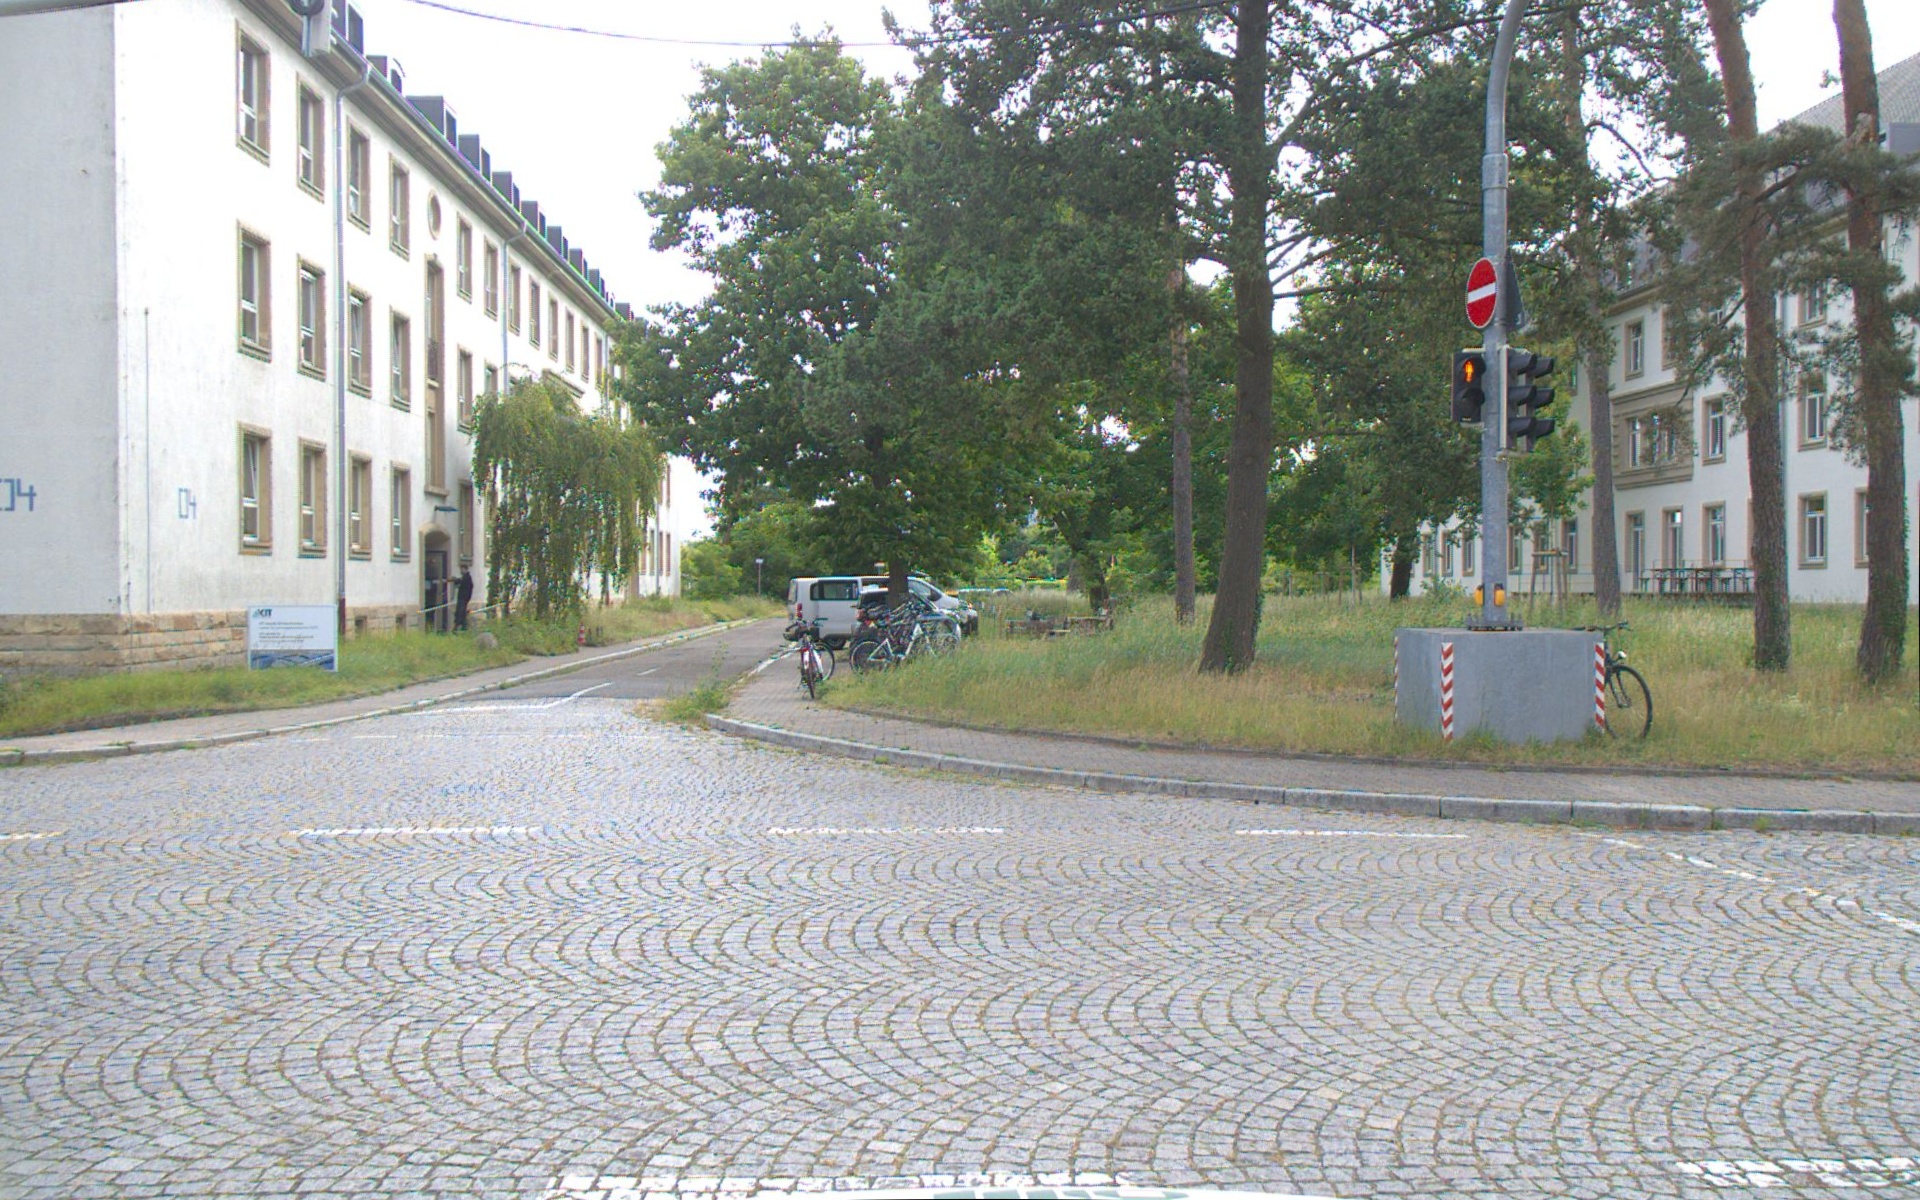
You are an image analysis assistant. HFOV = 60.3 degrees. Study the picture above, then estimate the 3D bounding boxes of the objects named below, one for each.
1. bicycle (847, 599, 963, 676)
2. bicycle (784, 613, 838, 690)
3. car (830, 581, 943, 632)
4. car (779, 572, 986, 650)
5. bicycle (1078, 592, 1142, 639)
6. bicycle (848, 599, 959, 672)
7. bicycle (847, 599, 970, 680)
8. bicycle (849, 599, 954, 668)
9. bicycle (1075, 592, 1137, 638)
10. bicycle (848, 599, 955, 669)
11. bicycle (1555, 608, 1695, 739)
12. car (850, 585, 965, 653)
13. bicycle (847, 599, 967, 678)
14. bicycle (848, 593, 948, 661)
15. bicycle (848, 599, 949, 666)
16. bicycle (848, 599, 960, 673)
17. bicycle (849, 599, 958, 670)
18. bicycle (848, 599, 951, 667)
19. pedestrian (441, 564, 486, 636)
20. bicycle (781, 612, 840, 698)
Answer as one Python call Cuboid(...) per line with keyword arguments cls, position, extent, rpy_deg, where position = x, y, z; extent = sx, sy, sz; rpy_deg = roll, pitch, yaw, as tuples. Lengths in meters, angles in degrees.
Cuboid(cls="bicycle", position=(-0.943, 0.628, 28.151), extent=(1.943, 1.269, 0.624), rpy_deg=(1, 0, -5))
Cuboid(cls="bicycle", position=(-2.248, 0.762, 25.108), extent=(0.609, 1.101, 1.678), rpy_deg=(1, 0, 1))
Cuboid(cls="car", position=(-2.613, 0.215, 58.525), extent=(3.952, 1.748, 1.680), rpy_deg=(0, 0, -4))
Cuboid(cls="car", position=(-2.106, 0.257, 44.651), extent=(5.221, 1.949, 2.139), rpy_deg=(-1, 0, -17))
Cuboid(cls="bicycle", position=(3.657, 0.377, 40.390), extent=(1.517, 1.144, 0.401), rpy_deg=(0, 0, -1))
Cuboid(cls="bicycle", position=(-1.020, 0.626, 29.640), extent=(1.943, 1.269, 0.624), rpy_deg=(1, 0, -5))
Cuboid(cls="bicycle", position=(-0.843, 0.630, 26.599), extent=(1.943, 1.269, 0.624), rpy_deg=(1, 0, -5))
Cuboid(cls="bicycle", position=(-1.110, 0.624, 31.241), extent=(1.943, 1.269, 0.624), rpy_deg=(1, 0, -5))
Cuboid(cls="bicycle", position=(3.665, 0.373, 41.622), extent=(1.517, 1.144, 0.401), rpy_deg=(0, 0, -1))
Cuboid(cls="bicycle", position=(-1.091, 0.625, 30.563), extent=(1.943, 1.269, 0.624), rpy_deg=(1, 0, -5))
Cuboid(cls="bicycle", position=(5.795, 0.610, 14.491), extent=(0.568, 0.987, 1.678), rpy_deg=(-2, 2, 1))
Cuboid(cls="car", position=(-1.325, 0.451, 41.211), extent=(2.791, 1.585, 1.471), rpy_deg=(-1, 2, -3))
Cuboid(cls="bicycle", position=(-0.878, 0.630, 27.227), extent=(1.943, 1.269, 0.624), rpy_deg=(1, 0, -5))
Cuboid(cls="bicycle", position=(-1.240, 0.532, 32.903), extent=(1.943, 1.269, 0.624), rpy_deg=(-2, 0, -5))
Cuboid(cls="bicycle", position=(-1.204, 0.622, 32.244), extent=(1.943, 1.269, 0.624), rpy_deg=(1, 0, -5))
Cuboid(cls="bicycle", position=(-0.991, 0.627, 29.008), extent=(1.943, 1.269, 0.624), rpy_deg=(1, 0, -5))
Cuboid(cls="bicycle", position=(-1.034, 0.626, 30.165), extent=(1.943, 1.269, 0.624), rpy_deg=(1, 0, -5))
Cuboid(cls="bicycle", position=(-1.160, 0.623, 31.752), extent=(1.943, 1.269, 0.624), rpy_deg=(1, 0, -5))
Cuboid(cls="pedestrian", position=(-12.587, -0.001, 41.952), extent=(0.820, 1.812, 0.941), rpy_deg=(0, 0, 3))
Cuboid(cls="bicycle", position=(-2.074, 0.749, 23.161), extent=(0.609, 1.133, 1.989), rpy_deg=(1, 0, 0))
